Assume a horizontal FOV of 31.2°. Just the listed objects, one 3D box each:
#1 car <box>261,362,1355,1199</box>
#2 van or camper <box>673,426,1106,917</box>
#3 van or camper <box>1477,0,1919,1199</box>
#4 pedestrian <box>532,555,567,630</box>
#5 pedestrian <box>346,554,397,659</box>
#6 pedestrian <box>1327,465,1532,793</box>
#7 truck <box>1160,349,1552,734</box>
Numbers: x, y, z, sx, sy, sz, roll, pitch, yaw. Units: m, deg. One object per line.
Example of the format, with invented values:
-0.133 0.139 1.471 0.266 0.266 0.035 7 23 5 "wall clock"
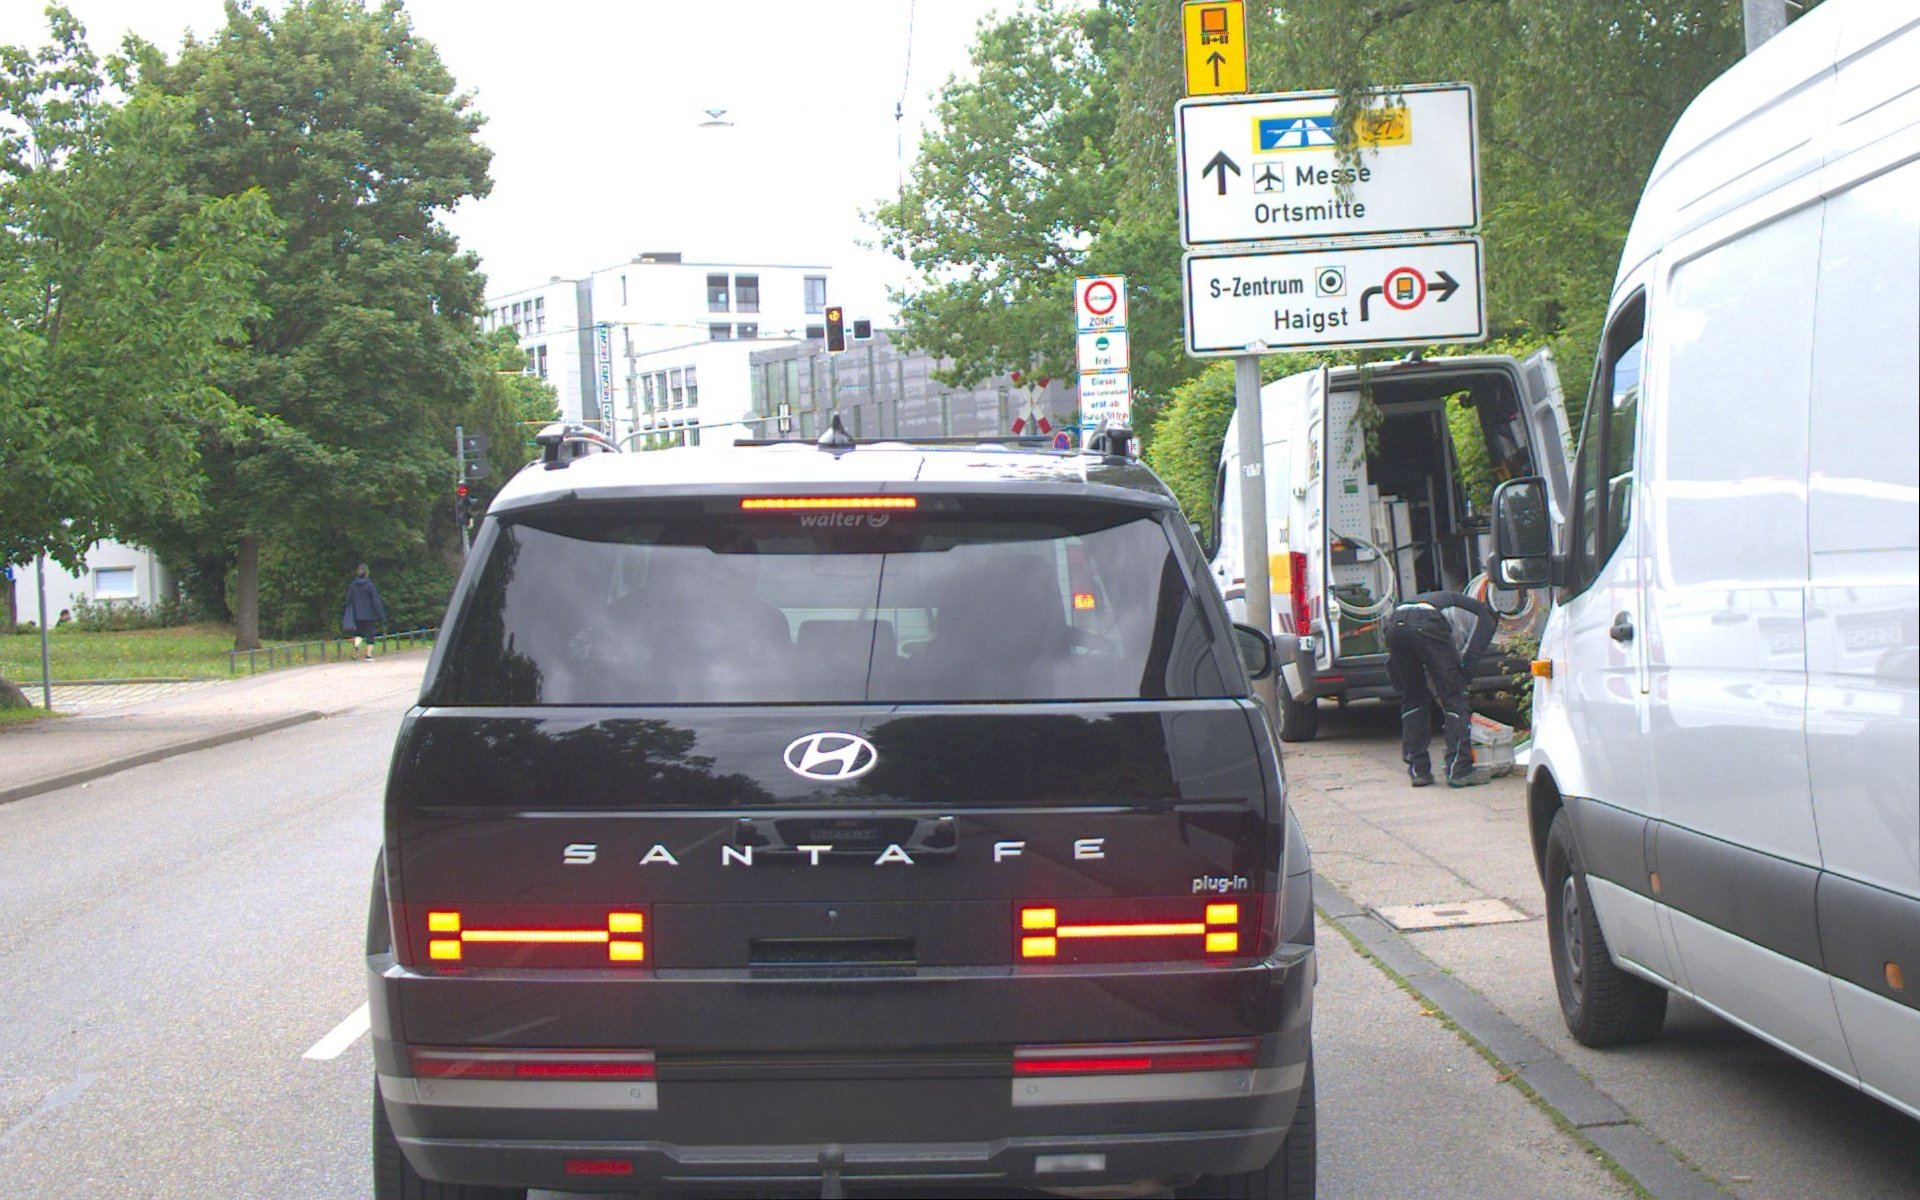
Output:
-0.283 0.468 7.965 1.889 1.813 4.000 0 1 -1 "car"
-0.319 0.271 16.464 1.754 2.007 4.000 -2 1 -1 "van or camper"
2.631 -0.049 7.108 1.993 2.611 6.541 -2 1 -1 "van or camper"
-9.492 -0.175 79.493 0.738 1.709 0.793 -2 1 -7 "pedestrian"
-9.783 0.094 57.157 0.738 1.709 0.793 -2 1 -7 "pedestrian"
2.649 0.152 19.373 0.759 1.791 0.871 -1 1 38 "pedestrian"
2.901 -0.423 26.417 1.942 2.553 5.217 -4 1 -4 "truck"
